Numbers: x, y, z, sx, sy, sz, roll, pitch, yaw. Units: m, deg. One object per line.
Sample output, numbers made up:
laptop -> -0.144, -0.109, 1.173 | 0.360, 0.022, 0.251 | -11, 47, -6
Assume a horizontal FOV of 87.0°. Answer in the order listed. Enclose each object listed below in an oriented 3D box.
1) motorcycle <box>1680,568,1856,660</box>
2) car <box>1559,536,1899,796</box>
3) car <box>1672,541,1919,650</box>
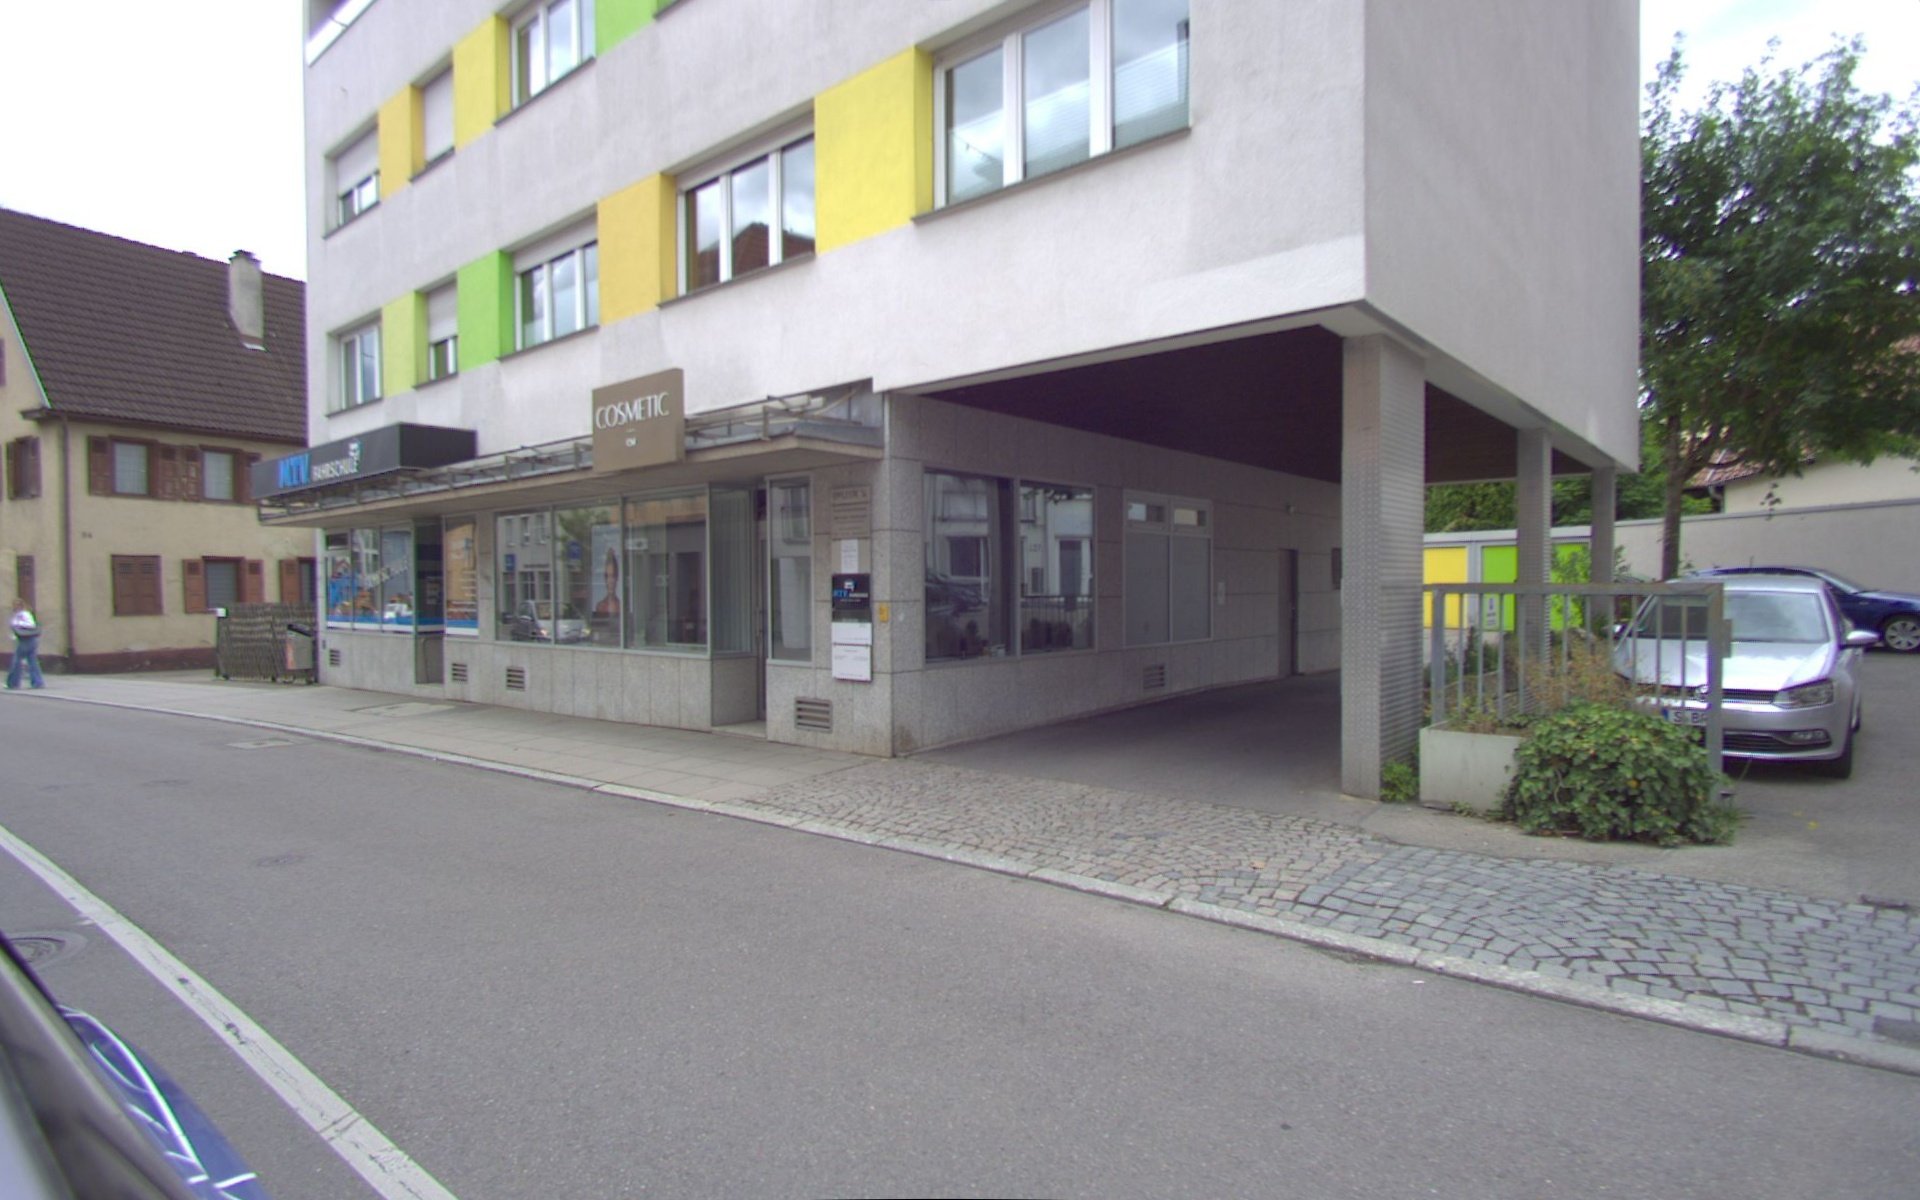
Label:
motorcycle -> 12.211, 0.199, 15.334 | 2.028, 1.307, 0.769 | -1, 0, 43
car -> 6.671, 0.376, 8.600 | 1.886, 1.674, 3.953 | -1, 1, 43
car -> 14.704, -0.079, 17.075 | 1.855, 1.674, 4.034 | -1, 1, -38
